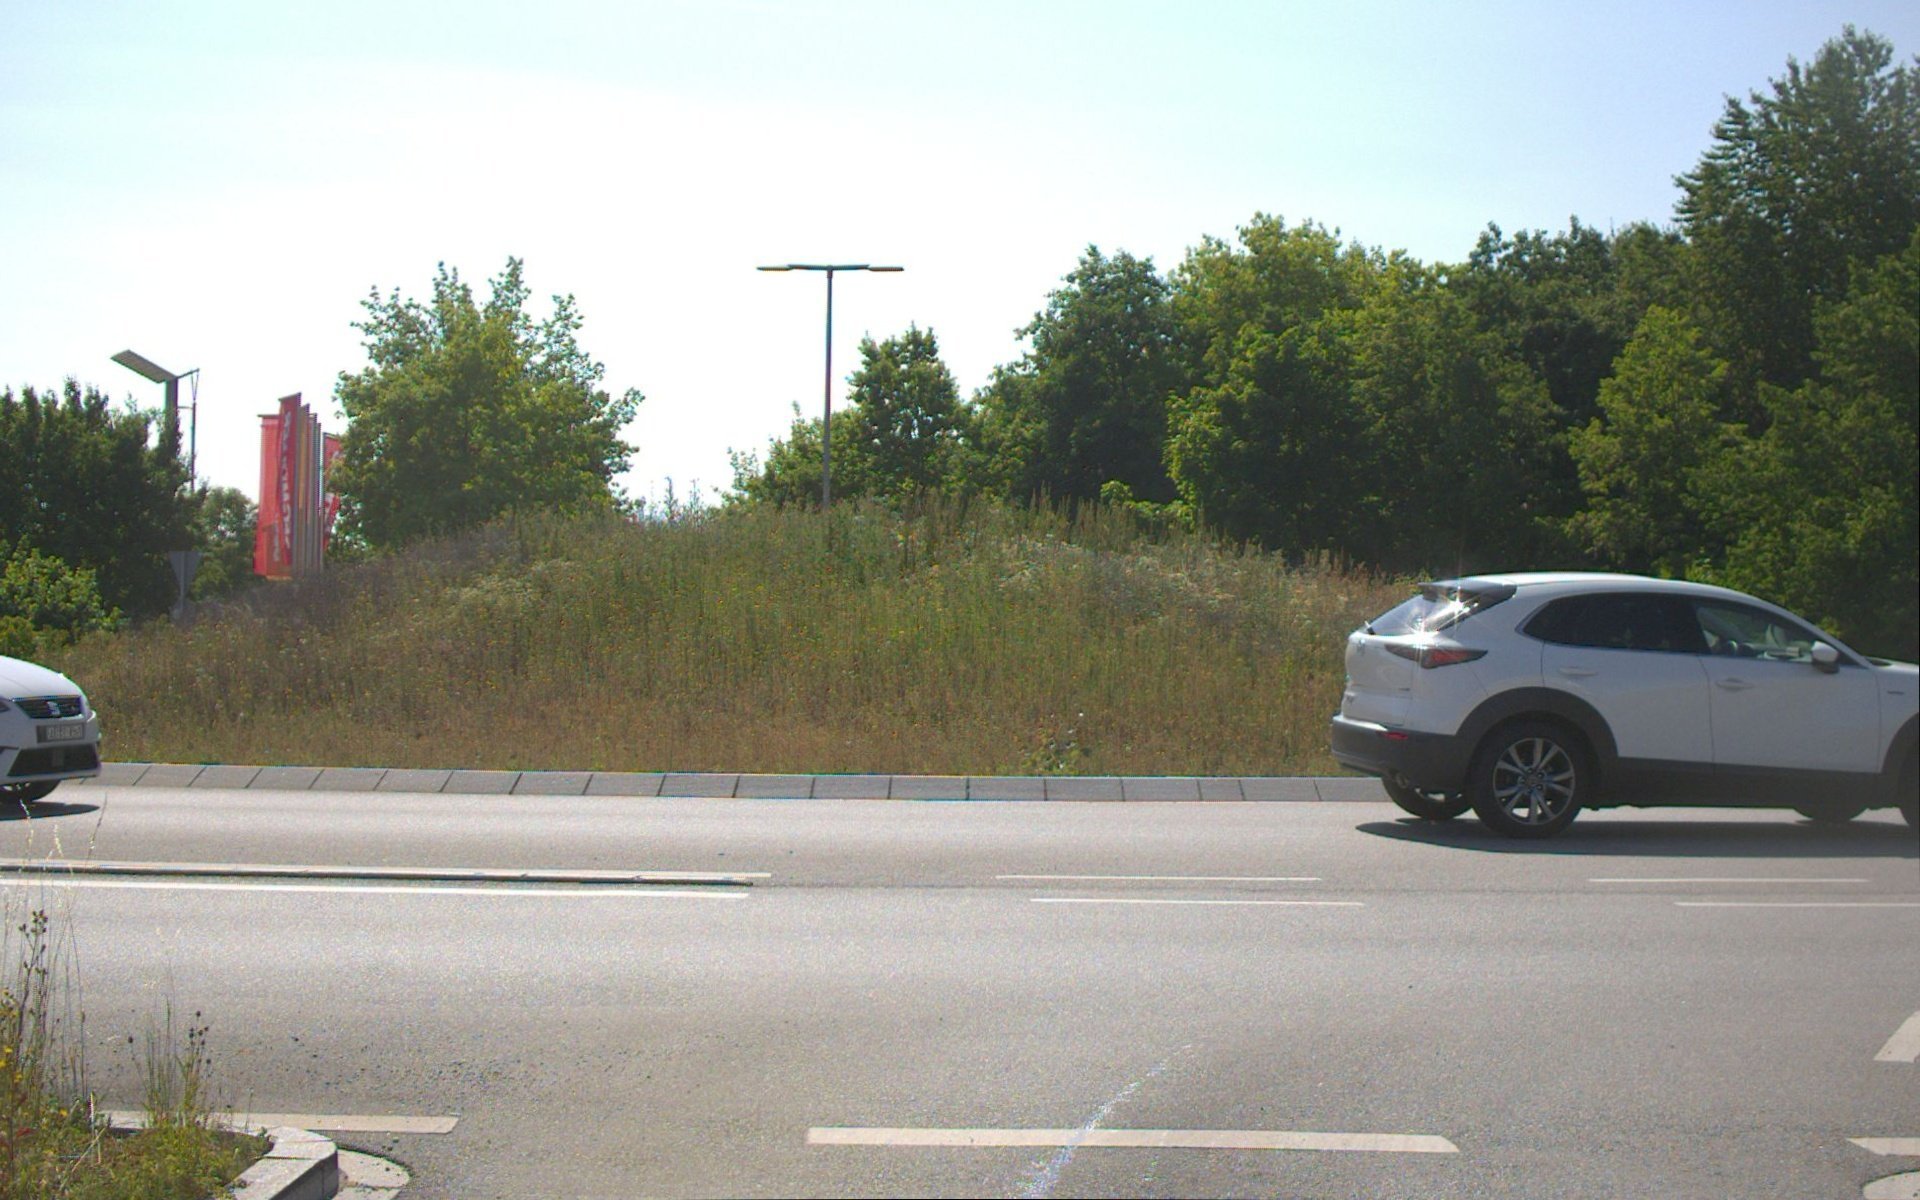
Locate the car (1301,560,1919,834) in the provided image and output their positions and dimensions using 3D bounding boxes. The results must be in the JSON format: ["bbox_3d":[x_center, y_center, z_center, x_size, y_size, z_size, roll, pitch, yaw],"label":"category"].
[{"bbox_3d":[4.360,0.574,20.577,4.273,1.525,1.792,1,0,-9],"label":"car"}]

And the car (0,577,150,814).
[{"bbox_3d":[-7.536,0.508,21.680,4.406,1.400,1.790,2,0,18],"label":"car"}]
